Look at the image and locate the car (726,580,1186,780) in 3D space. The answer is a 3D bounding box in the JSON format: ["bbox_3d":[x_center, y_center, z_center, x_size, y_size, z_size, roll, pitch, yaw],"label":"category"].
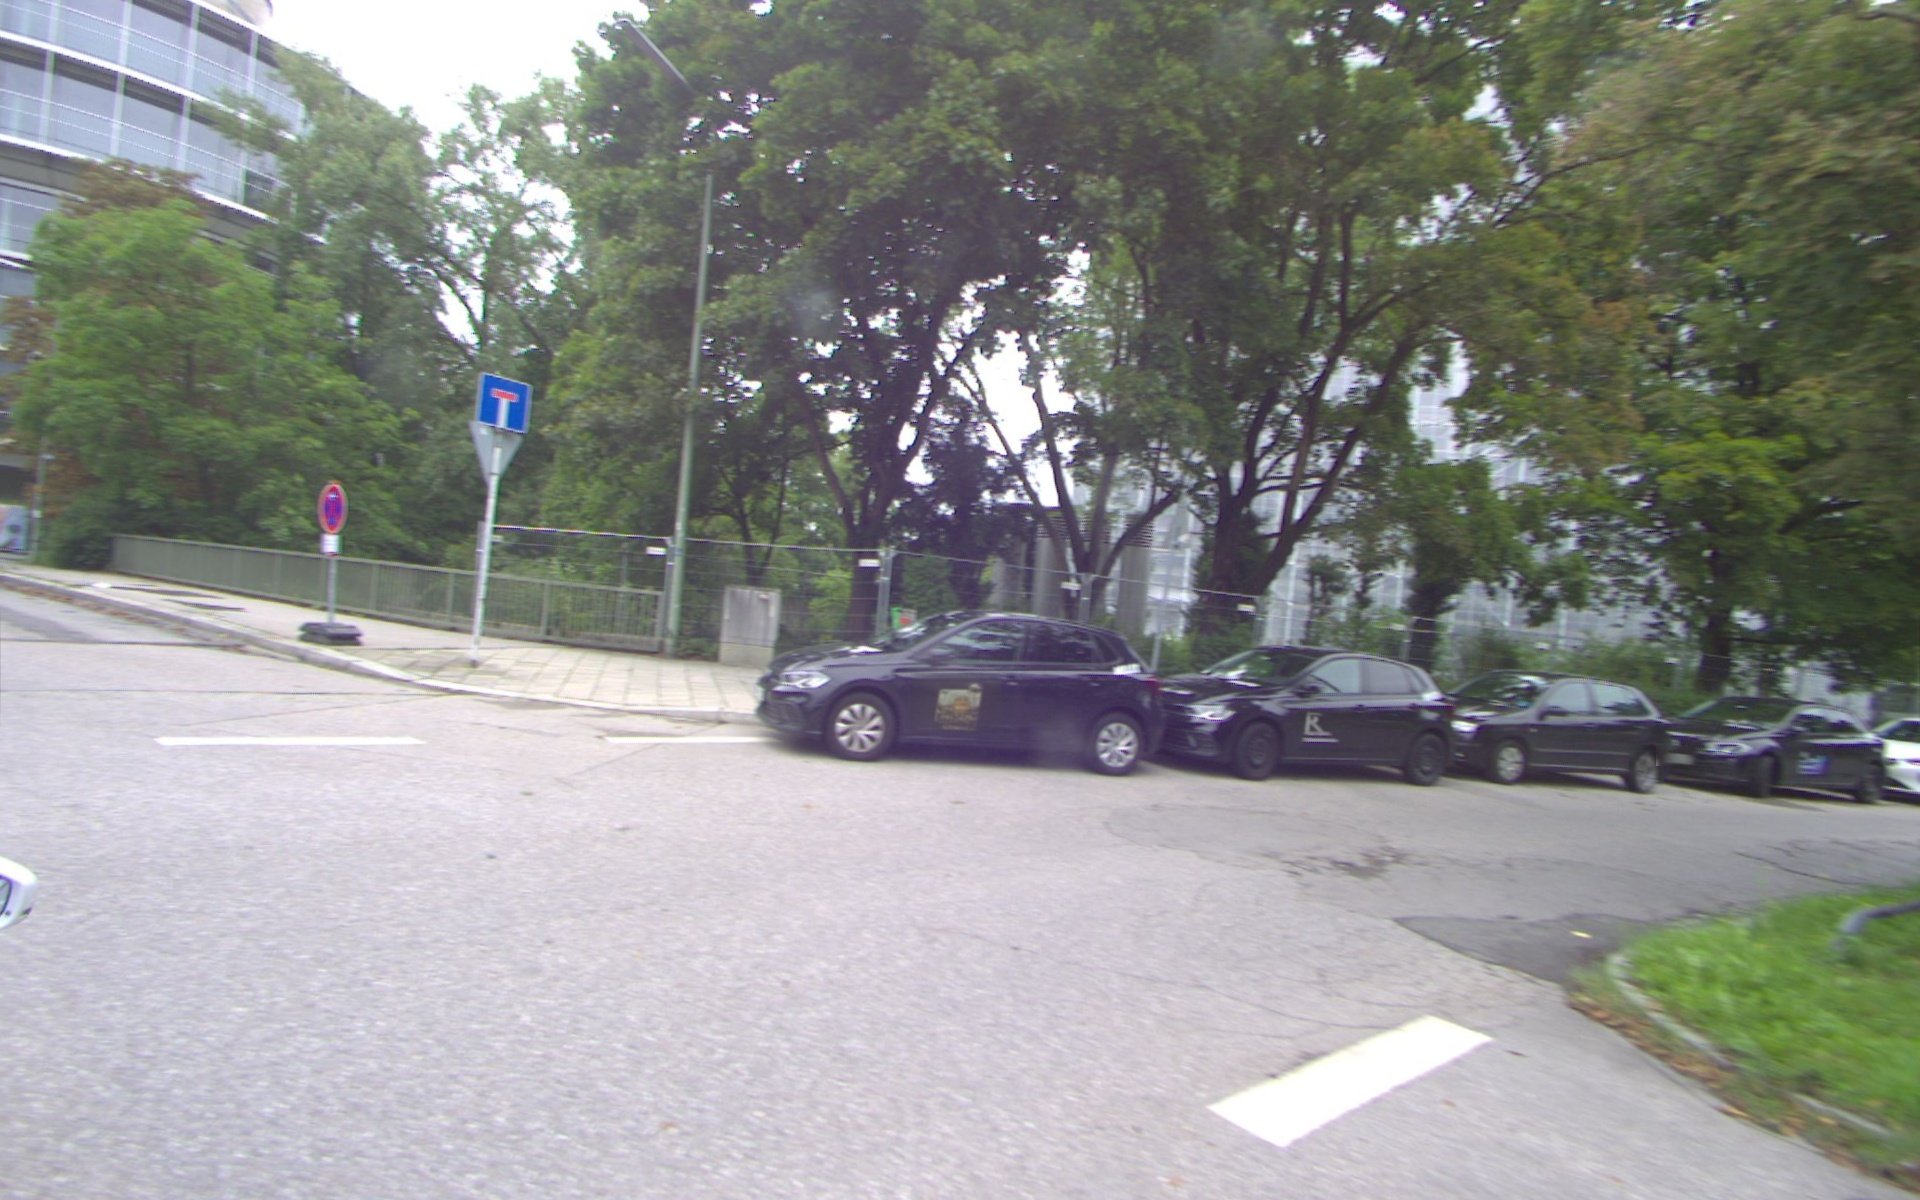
[{"bbox_3d":[-0.091,0.772,9.917,3.986,1.451,1.989,6,1,-21],"label":"car"}]

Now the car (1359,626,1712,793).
[{"bbox_3d":[7.757,1.475,13.630,3.945,1.728,1.989,6,1,-22],"label":"car"}]

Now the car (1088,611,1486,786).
[{"bbox_3d":[3.746,1.121,11.579,3.947,1.560,1.989,6,-1,-24],"label":"car"}]

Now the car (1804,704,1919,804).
[{"bbox_3d":[16.760,2.698,17.066,4.157,1.400,1.795,6,-1,-19],"label":"car"}]

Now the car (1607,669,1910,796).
[{"bbox_3d":[12.178,2.017,15.367,3.950,1.478,1.832,6,-1,-22],"label":"car"}]
